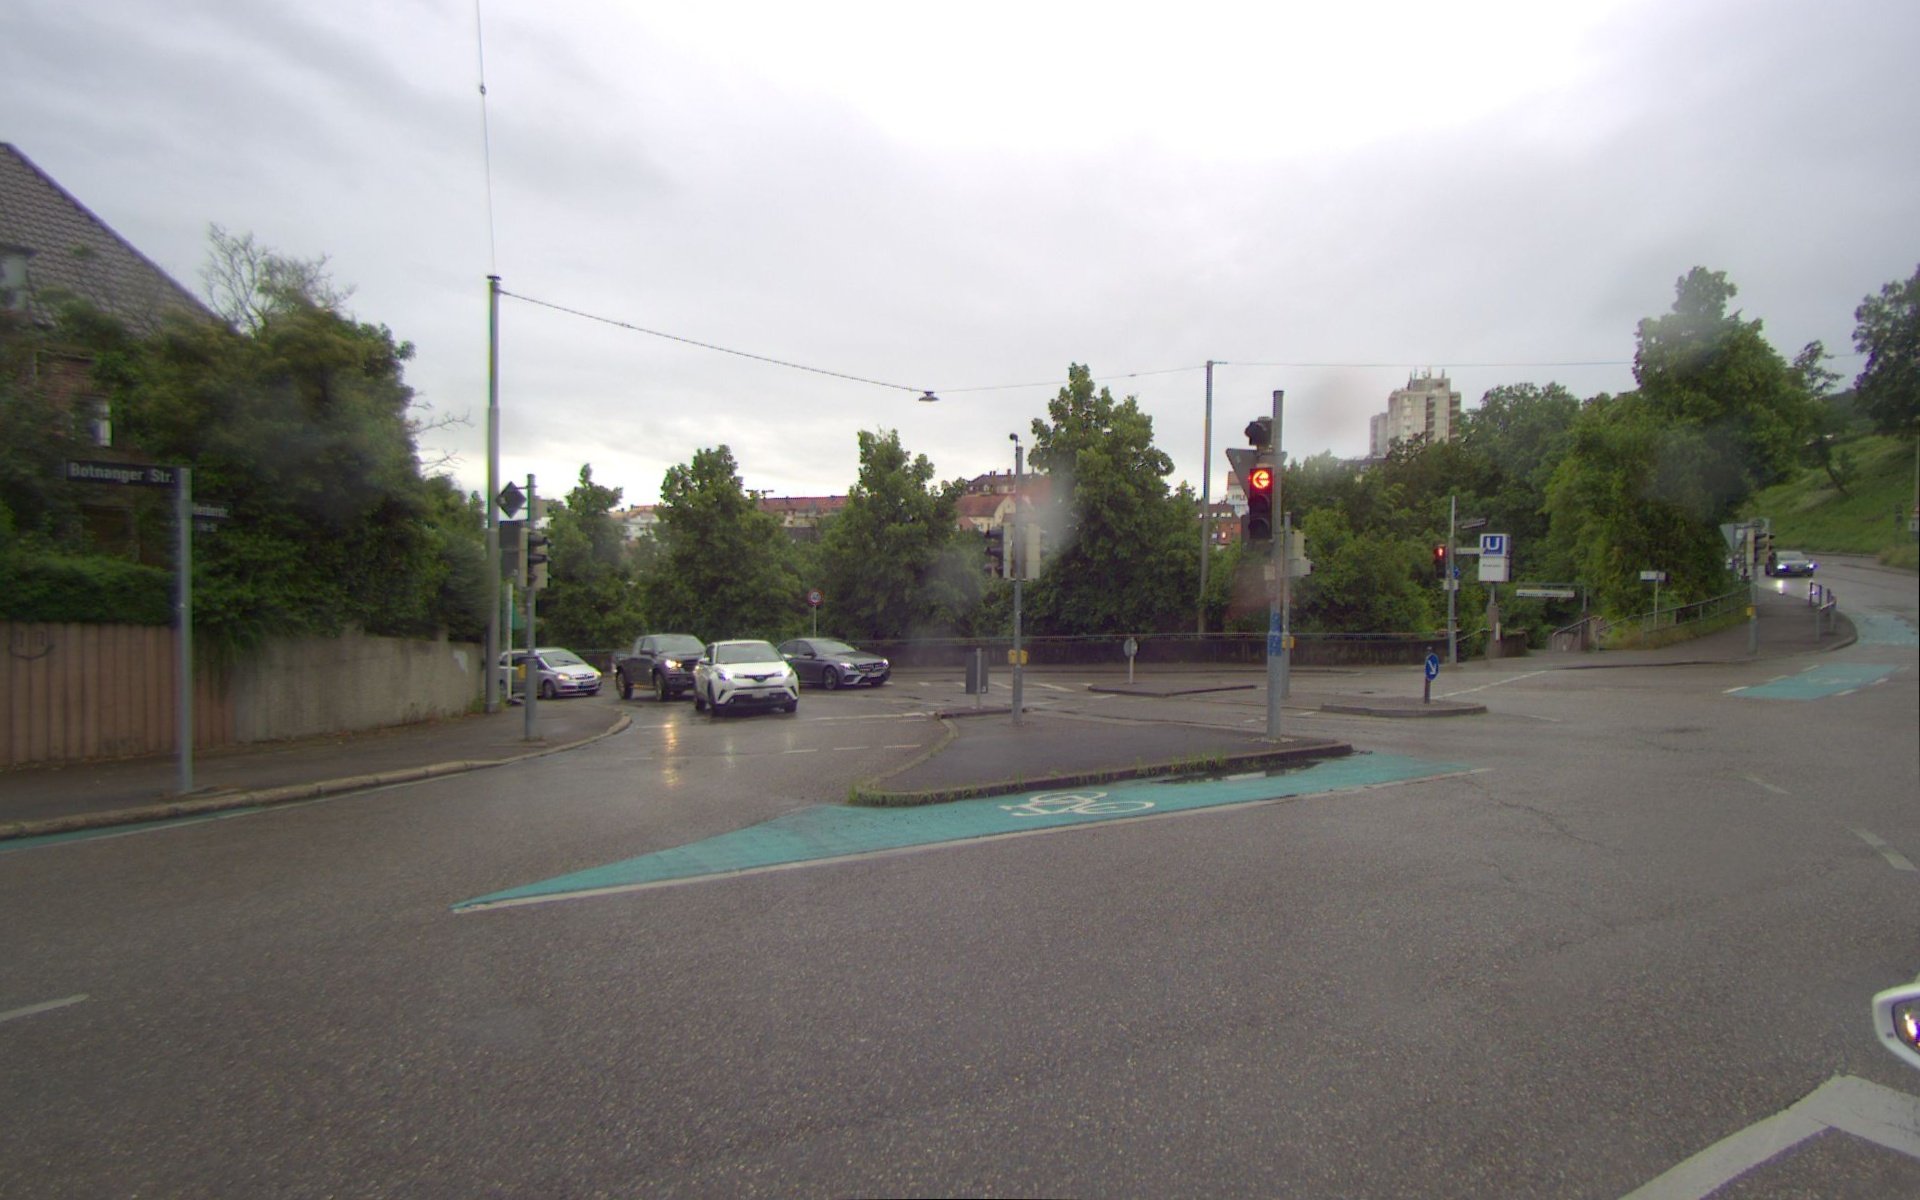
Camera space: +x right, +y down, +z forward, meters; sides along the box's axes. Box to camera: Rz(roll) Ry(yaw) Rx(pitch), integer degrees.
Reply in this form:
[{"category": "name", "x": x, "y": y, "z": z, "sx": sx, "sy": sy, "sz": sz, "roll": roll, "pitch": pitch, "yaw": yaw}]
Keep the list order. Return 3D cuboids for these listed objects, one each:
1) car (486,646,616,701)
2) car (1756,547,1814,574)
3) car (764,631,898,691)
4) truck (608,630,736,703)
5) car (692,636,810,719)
[{"category": "car", "x": -13.656, "y": 2.426, "z": 33.491, "sx": 4.238, "sy": 1.653, "sz": 1.853, "roll": -2, "pitch": -1, "yaw": 31}, {"category": "car", "x": 49.573, "y": -2.374, "z": 60.428, "sx": 1.927, "sy": 1.532, "sz": 4.395, "roll": 1, "pitch": 3, "yaw": 29}, {"category": "car", "x": -3.892, "y": 1.768, "z": 29.682, "sx": 1.962, "sy": 1.527, "sz": 4.443, "roll": -2, "pitch": -1, "yaw": -37}, {"category": "truck", "x": -8.329, "y": 1.915, "z": 28.769, "sx": 1.890, "sy": 1.809, "sz": 4.940, "roll": -2, "pitch": -3, "yaw": -36}, {"category": "car", "x": -4.585, "y": 1.631, "z": 21.621, "sx": 1.810, "sy": 1.527, "sz": 3.866, "roll": -2, "pitch": -2, "yaw": -21}]
